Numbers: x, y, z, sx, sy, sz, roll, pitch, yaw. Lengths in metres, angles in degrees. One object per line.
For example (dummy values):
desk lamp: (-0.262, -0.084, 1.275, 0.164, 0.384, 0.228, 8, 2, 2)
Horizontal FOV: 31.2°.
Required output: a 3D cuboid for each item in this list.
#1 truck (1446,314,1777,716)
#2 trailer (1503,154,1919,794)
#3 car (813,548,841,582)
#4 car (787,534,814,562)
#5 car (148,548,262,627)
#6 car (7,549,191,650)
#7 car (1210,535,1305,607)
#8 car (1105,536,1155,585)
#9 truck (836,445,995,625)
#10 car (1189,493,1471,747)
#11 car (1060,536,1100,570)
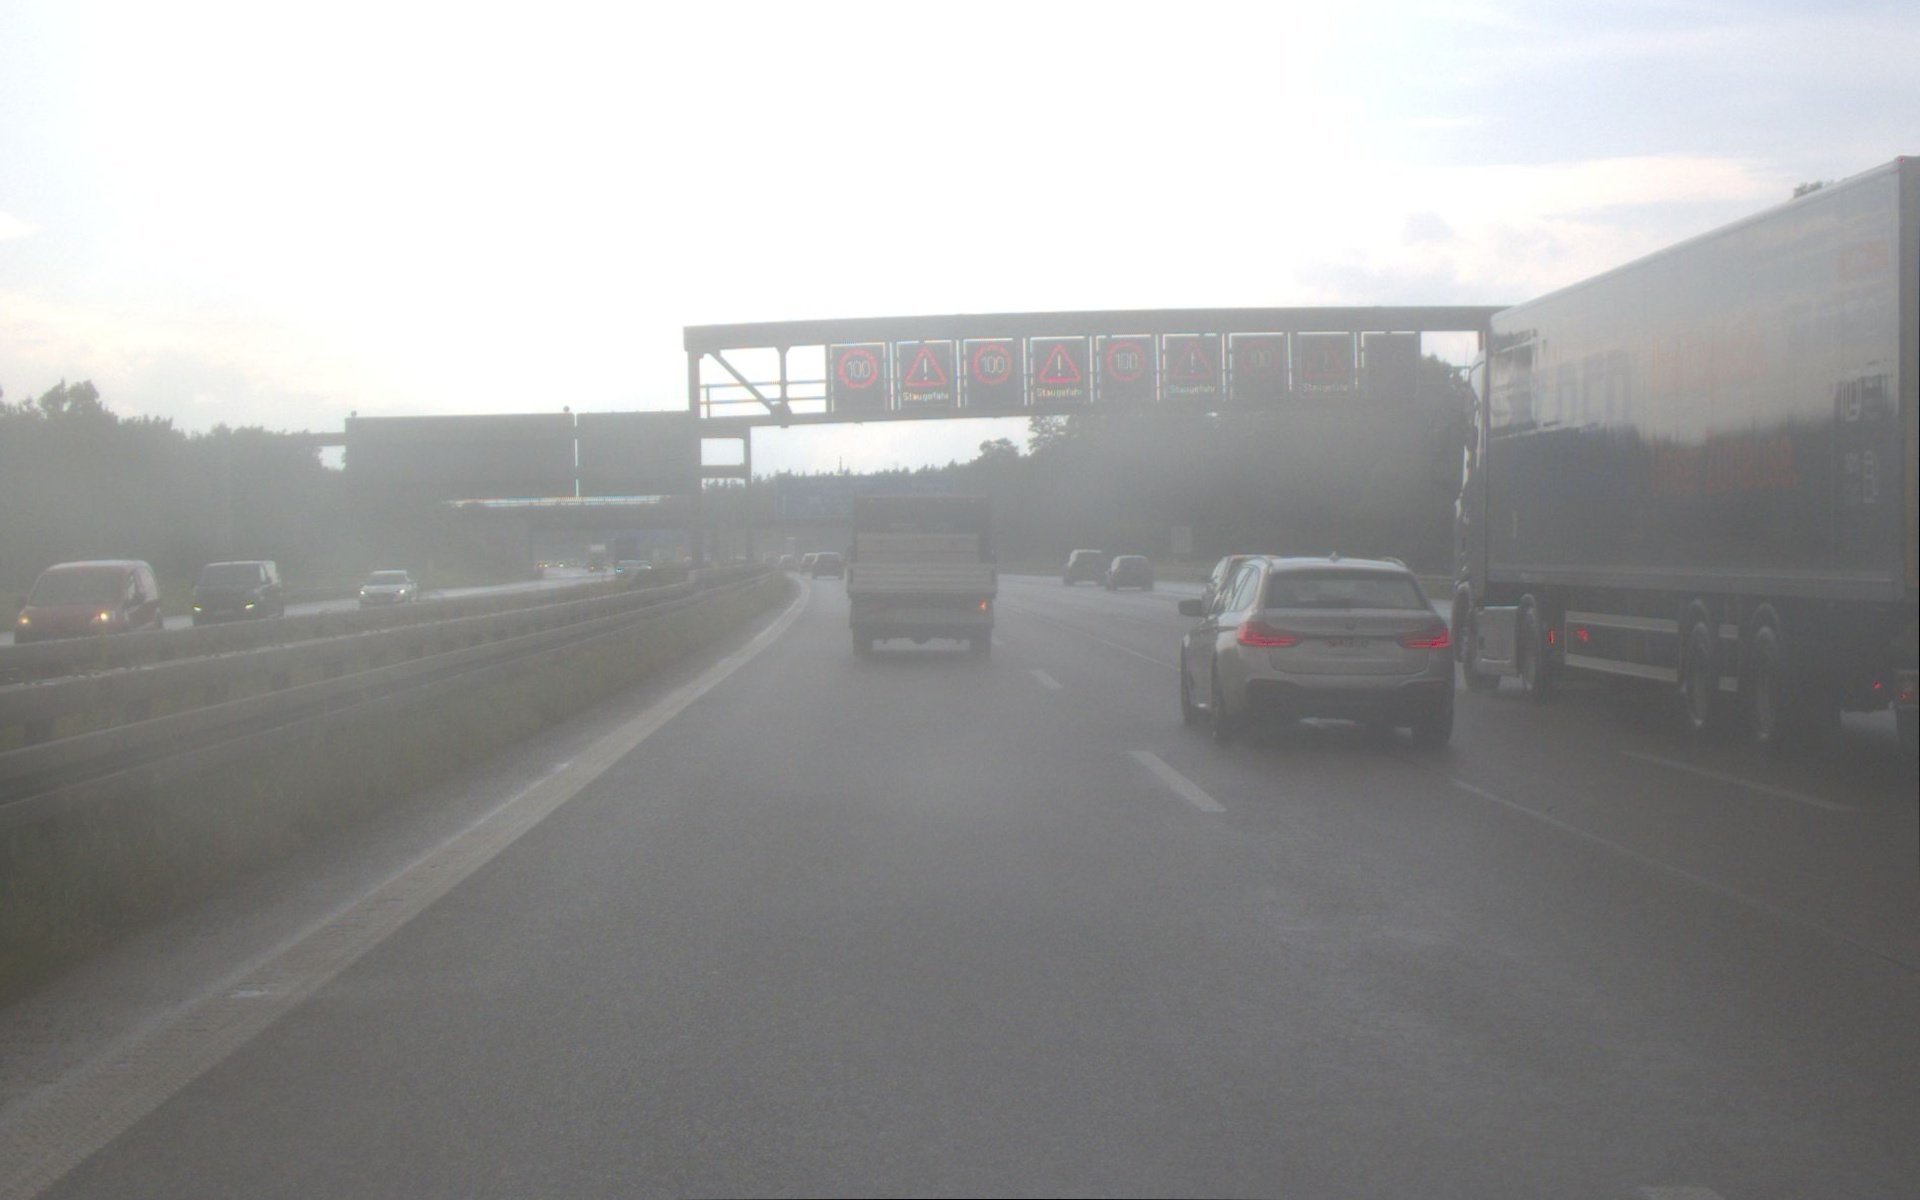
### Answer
truck: (6.640, -0.861, 35.708, 2.293, 3.854, 5.392, 0, 1, -1)
trailer: (6.827, -0.900, 28.157, 2.323, 3.988, 13.413, 0, 1, -1)
car: (-8.107, -2.167, 210.238, 1.617, 2.007, 4.001, 1, 1, -2)
car: (-11.932, -3.879, 256.851, 1.795, 2.007, 4.000, 1, 1, 0)
car: (-20.009, -0.361, 91.255, 1.993, 1.910, 4.724, -3, 1, -1)
car: (-14.320, -0.045, 57.428, 1.993, 1.604, 4.609, 0, 1, -1)
car: (6.203, -0.625, 71.992, 1.831, 1.461, 4.000, 0, 1, 3)
car: (7.154, -1.683, 144.572, 1.993, 2.007, 4.000, 1, 1, 2)
truck: (-0.586, -0.960, 50.081, 2.137, 2.480, 5.313, 0, 1, 1)
car: (2.966, 0.100, 28.259, 2.078, 1.878, 5.010, 1, 1, 5)
car: (5.901, -2.323, 169.766, 1.741, 1.683, 4.000, 0, 1, -1)
